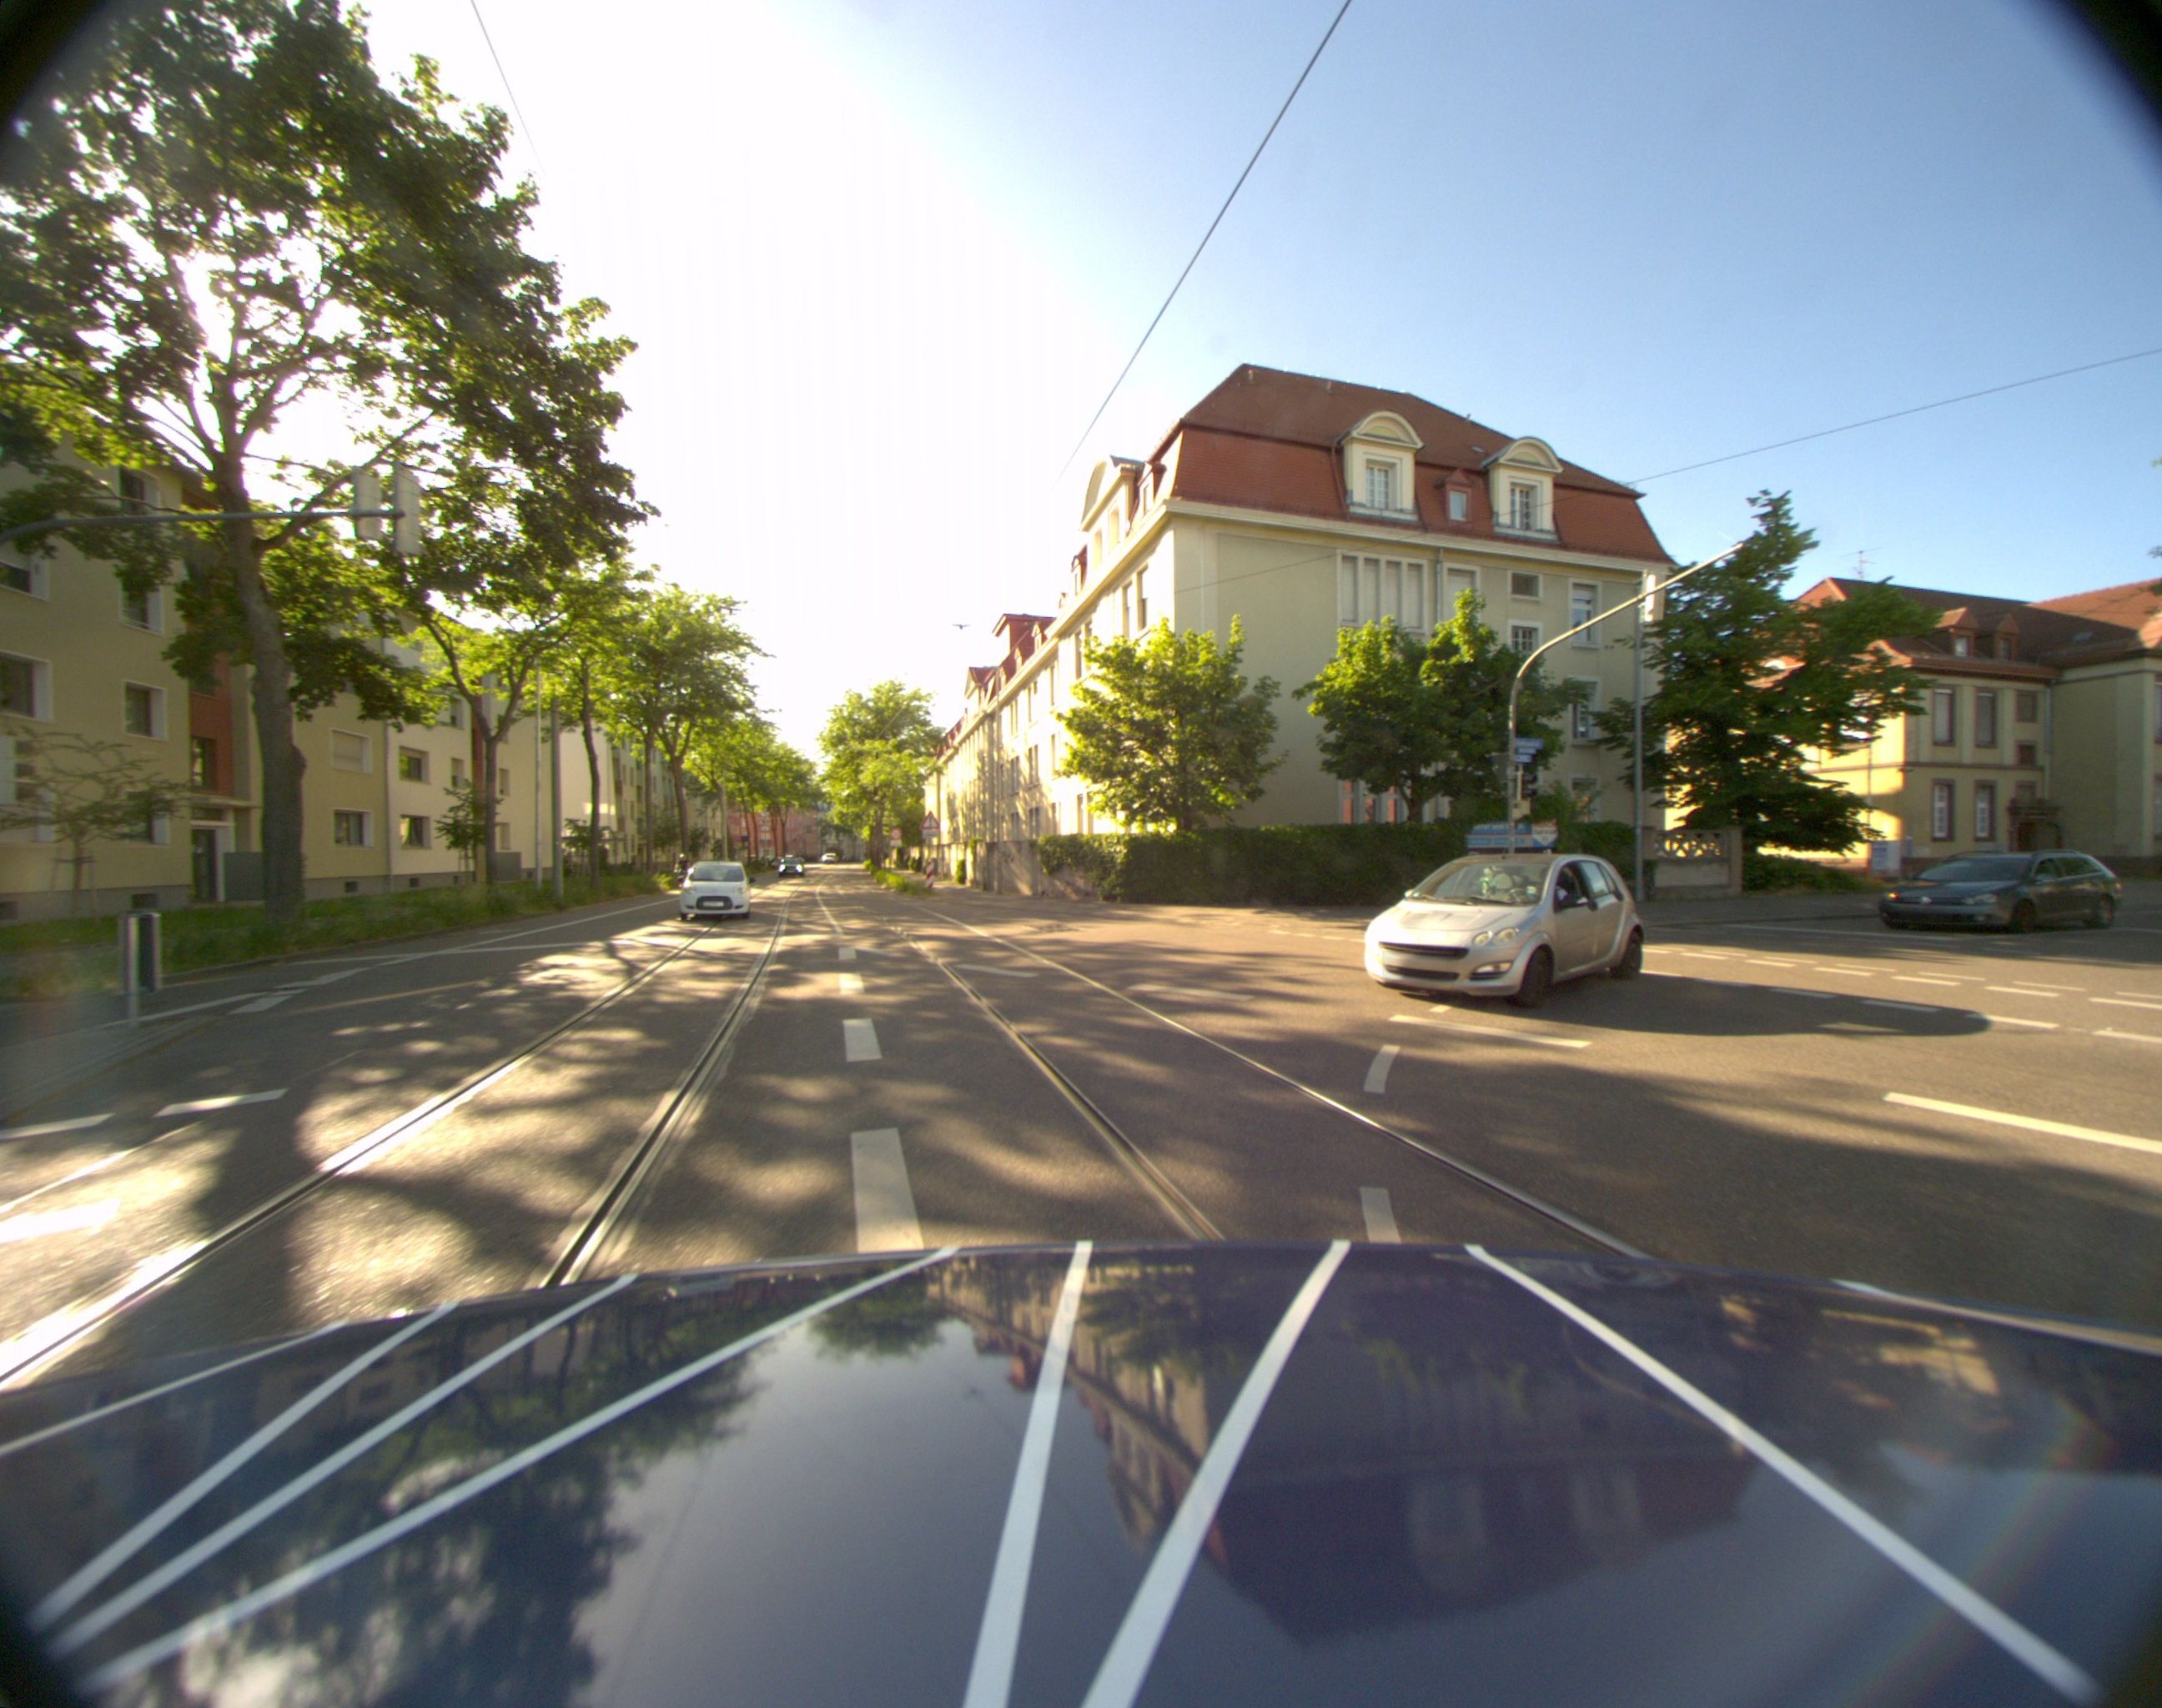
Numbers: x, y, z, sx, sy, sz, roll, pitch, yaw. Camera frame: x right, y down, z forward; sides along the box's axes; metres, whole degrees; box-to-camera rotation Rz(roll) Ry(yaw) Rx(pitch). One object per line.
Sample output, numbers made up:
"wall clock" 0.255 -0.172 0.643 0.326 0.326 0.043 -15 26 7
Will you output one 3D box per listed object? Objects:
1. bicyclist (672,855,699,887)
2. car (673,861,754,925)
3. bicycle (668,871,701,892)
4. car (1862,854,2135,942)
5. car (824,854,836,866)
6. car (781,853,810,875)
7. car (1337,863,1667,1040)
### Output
"bicyclist" -18.874 0.800 36.244 0.820 1.491 1.257 -1 1 -12
"car" -9.642 0.955 20.081 1.745 1.450 3.685 -1 1 -25
"bicycle" -18.861 1.299 36.196 0.828 0.880 2.195 -1 0 -12
"car" 17.302 0.748 14.354 4.408 1.450 1.740 -1 1 -17
"car" -41.405 0.980 125.274 1.828 1.751 3.687 -3 1 -20
"car" -21.453 0.749 57.063 1.745 1.567 3.685 -1 1 -25
"car" 4.691 0.859 8.327 3.700 1.450 1.738 -1 1 -36
